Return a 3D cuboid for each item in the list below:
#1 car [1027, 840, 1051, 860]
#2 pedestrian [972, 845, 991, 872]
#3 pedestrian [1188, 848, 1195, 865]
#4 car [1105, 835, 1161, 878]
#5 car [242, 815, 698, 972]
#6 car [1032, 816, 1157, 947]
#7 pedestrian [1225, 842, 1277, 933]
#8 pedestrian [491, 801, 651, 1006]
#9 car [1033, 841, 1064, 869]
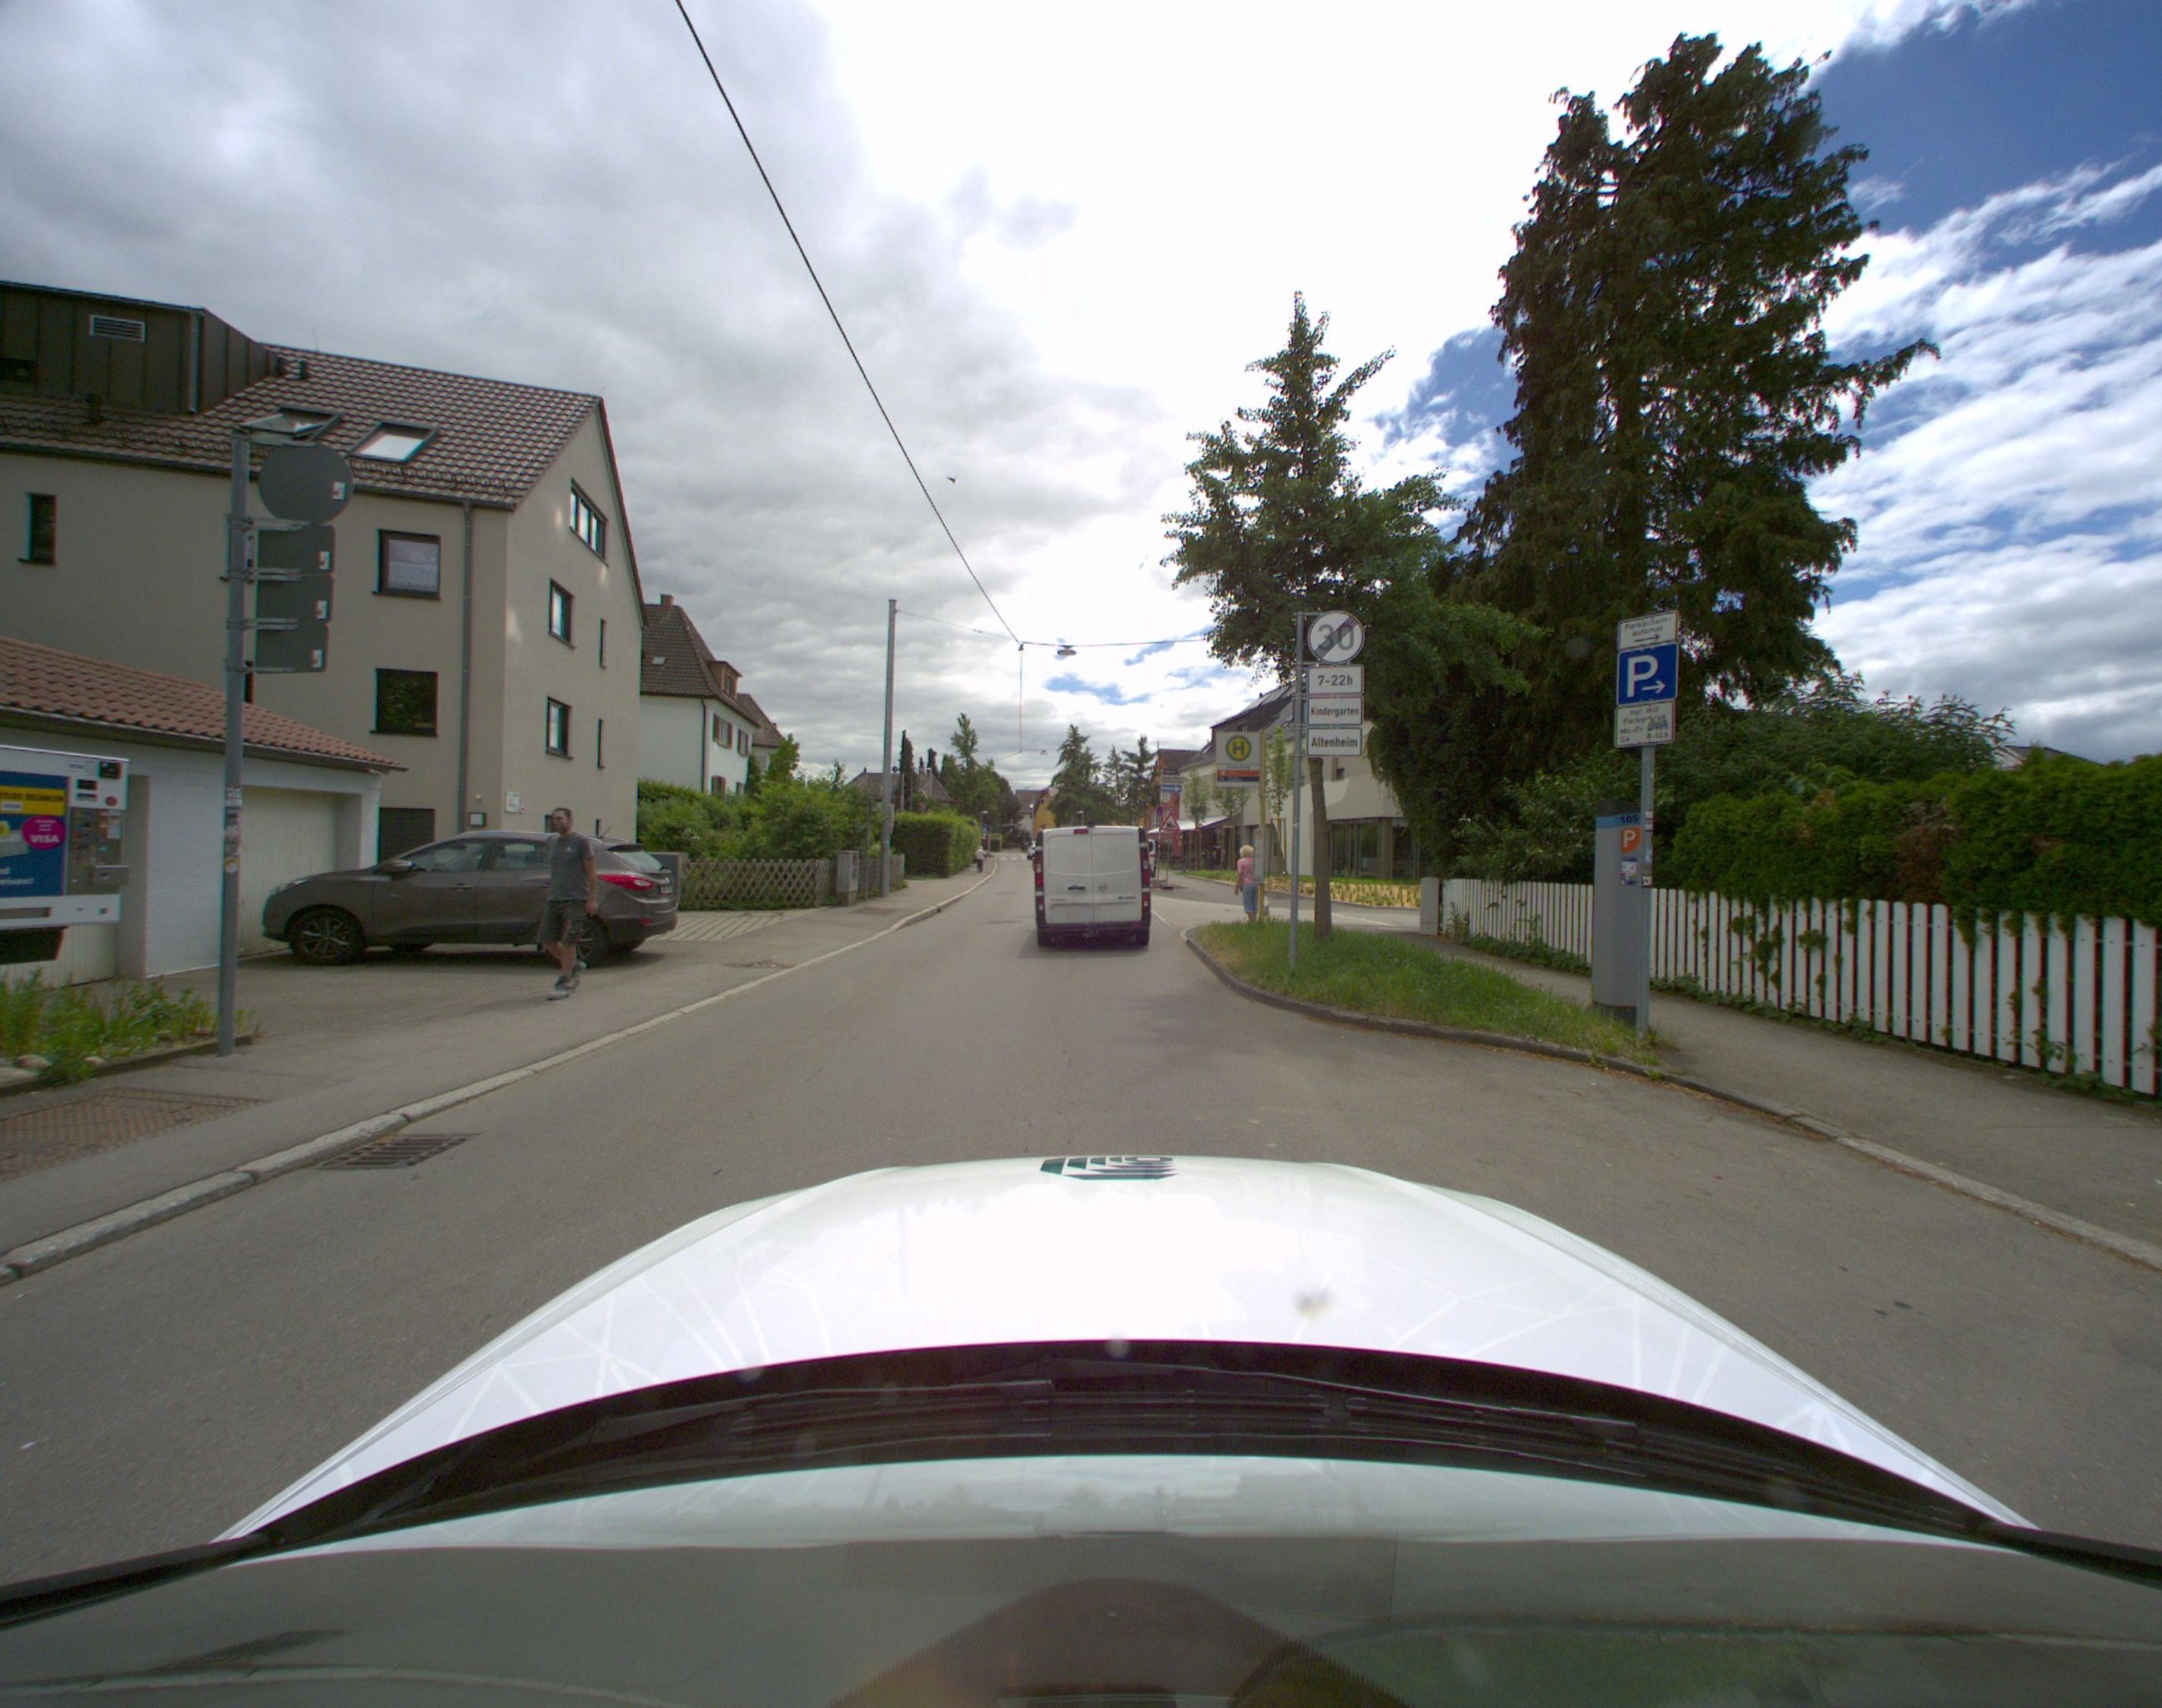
[{"bbox_3d":[-3.761,-0.353,72.157,1.990,1.782,3.994,0,0,-5],"label":"car"},{"bbox_3d":[-5.671,0.258,46.354,0.880,1.485,0.452,3,-1,-24],"label":"pedestrian"},{"bbox_3d":[7.482,0.175,55.241,0.421,1.182,0.323,1,0,-7],"label":"pedestrian"},{"bbox_3d":[2.467,0.119,40.161,1.955,1.916,4.892,3,0,-5],"label":"car"},{"bbox_3d":[-7.629,0.505,10.661,4.313,1.695,1.791,3,0,-11],"label":"car"},{"bbox_3d":[0.083,0.439,14.702,1.912,2.003,4.432,0,0,-4],"label":"car"},{"bbox_3d":[3.247,0.626,15.546,0.875,1.645,0.860,3,0,12],"label":"pedestrian"},{"bbox_3d":[-5.258,0.481,8.483,0.730,1.946,1.219,3,0,4],"label":"pedestrian"},{"bbox_3d":[-2.270,0.066,56.379,1.990,1.848,3.994,0,0,-5],"label":"car"}]
